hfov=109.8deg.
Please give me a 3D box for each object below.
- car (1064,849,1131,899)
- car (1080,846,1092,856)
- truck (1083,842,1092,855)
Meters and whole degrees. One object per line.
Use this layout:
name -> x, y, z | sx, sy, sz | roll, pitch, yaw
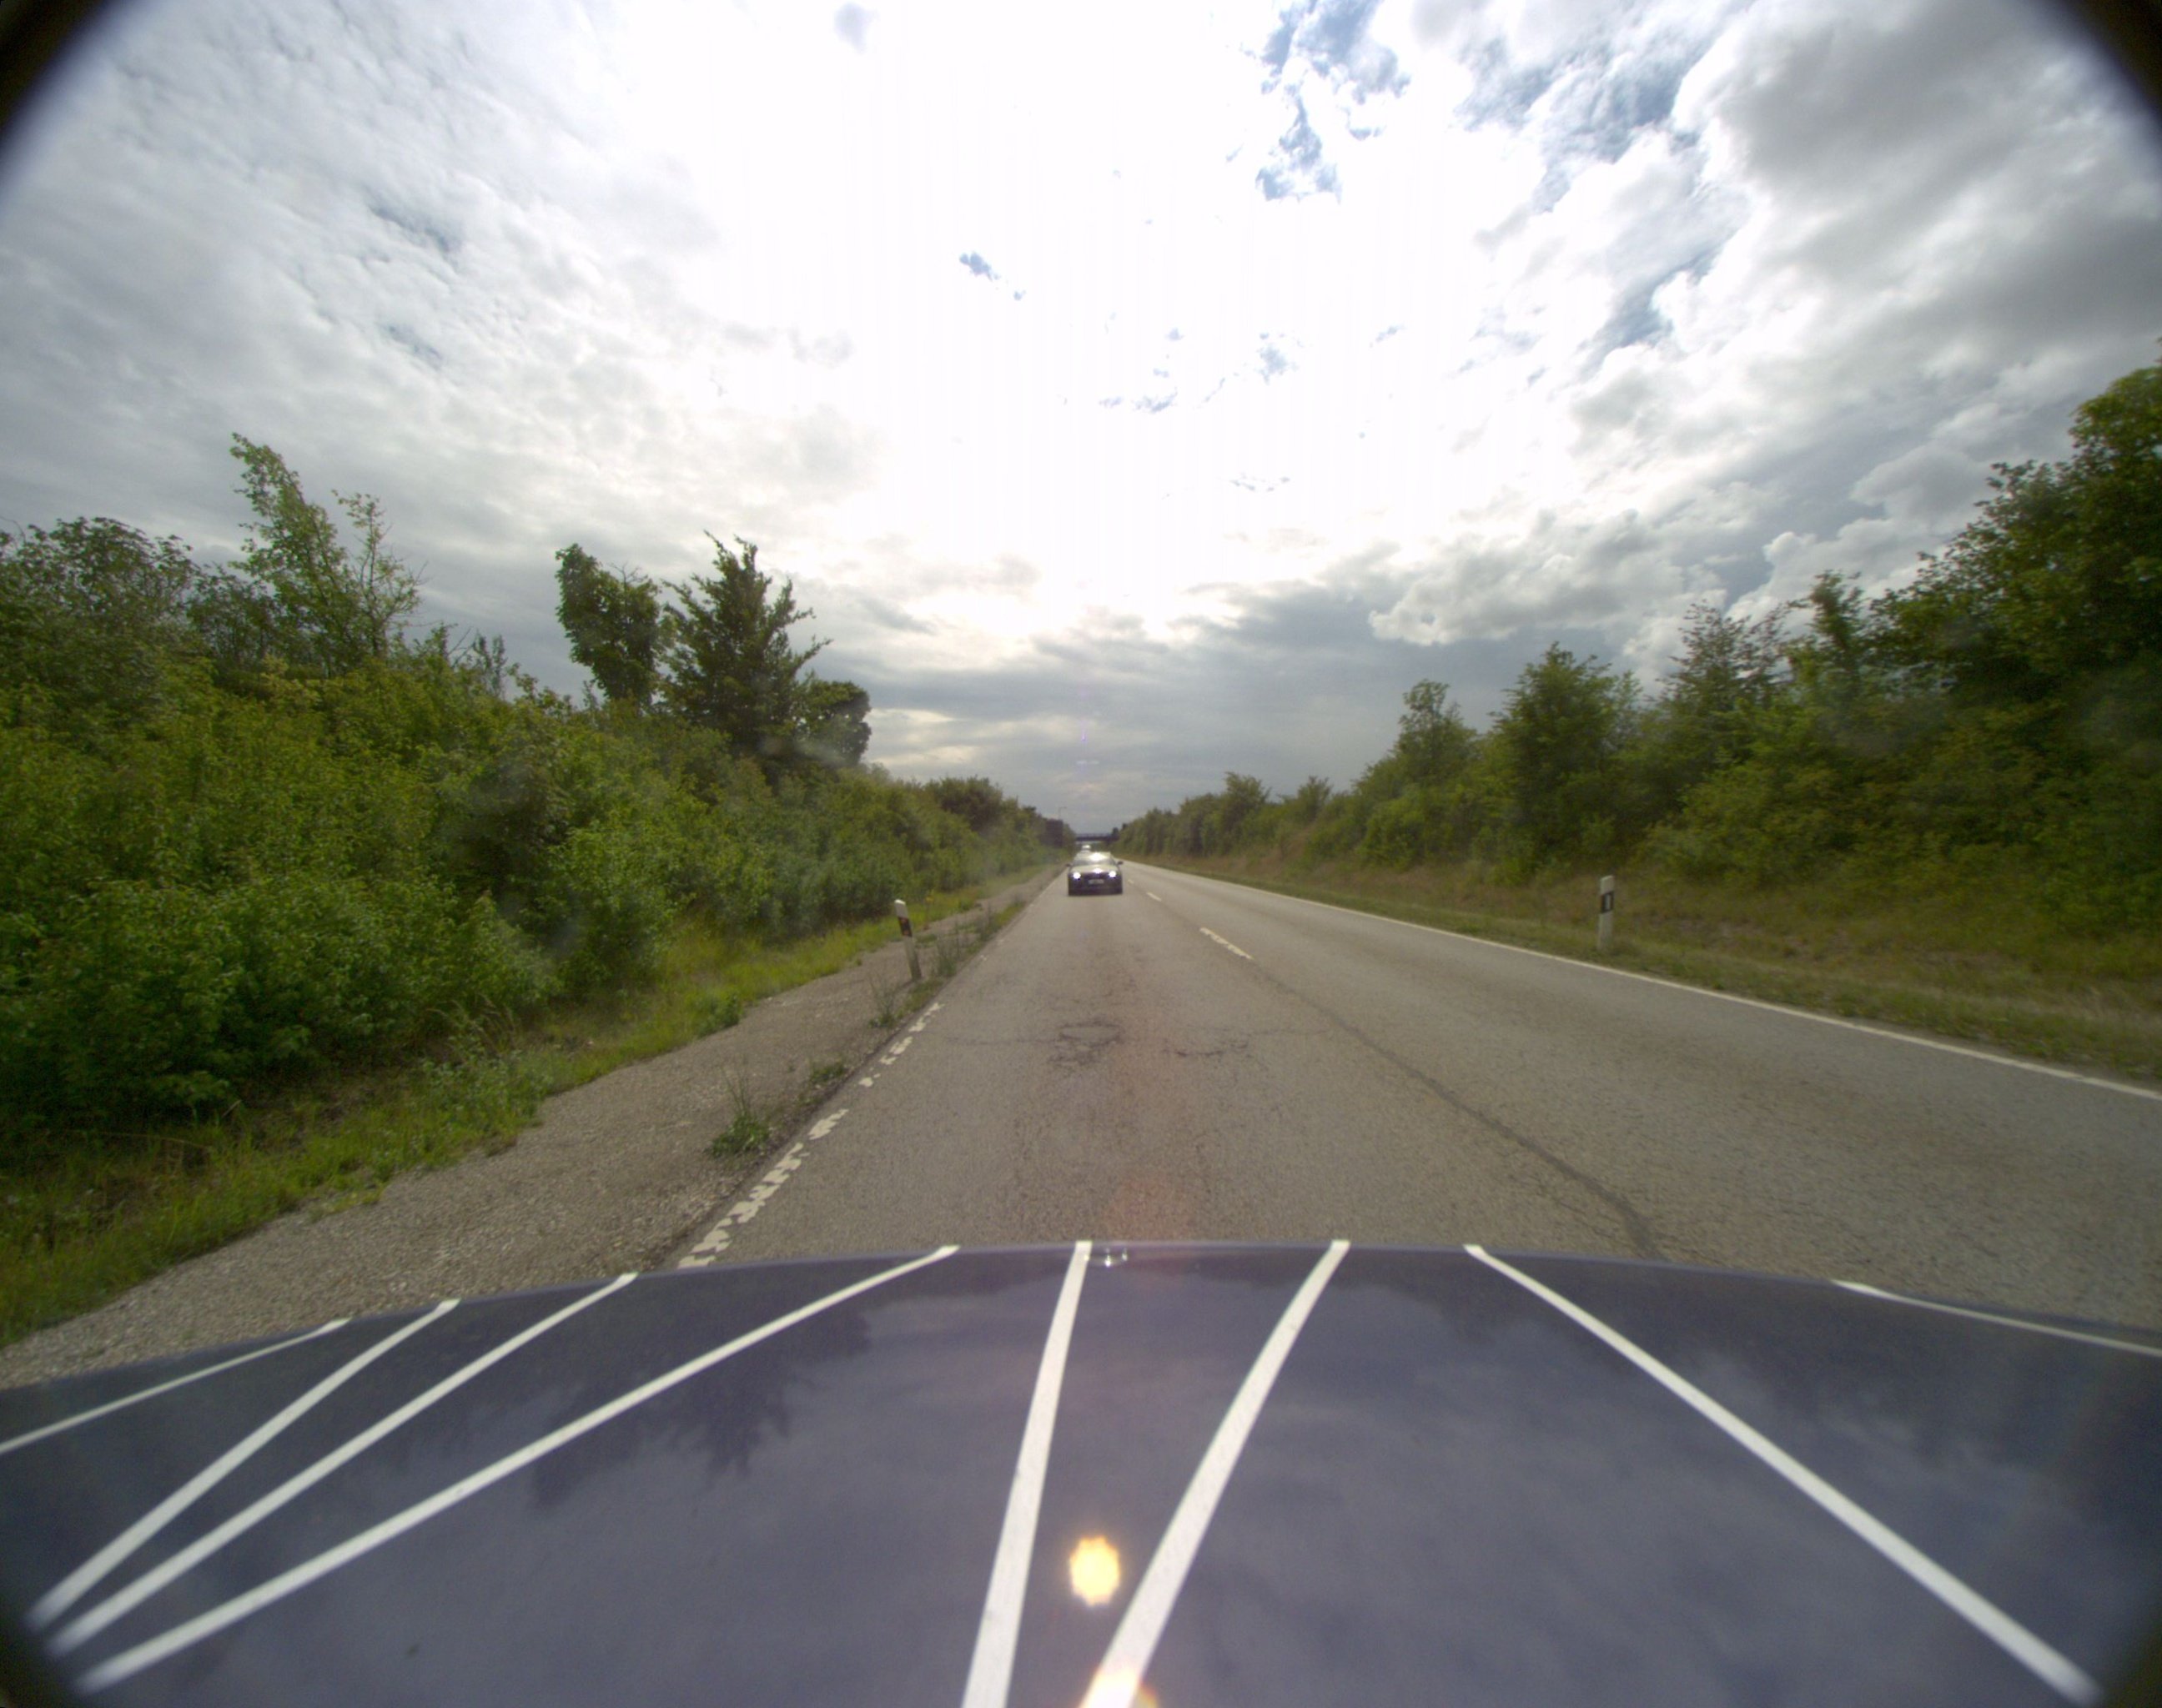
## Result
car -> 0.525, 0.599, 25.678 | 1.998, 1.436, 4.640 | -3, 1, 0
car -> 0.833, -0.517, 128.862 | 1.870, 1.597, 3.999 | -2, 1, 0
truck -> 1.330, -1.237, 163.589 | 1.802, 2.518, 6.684 | -3, 1, 0
